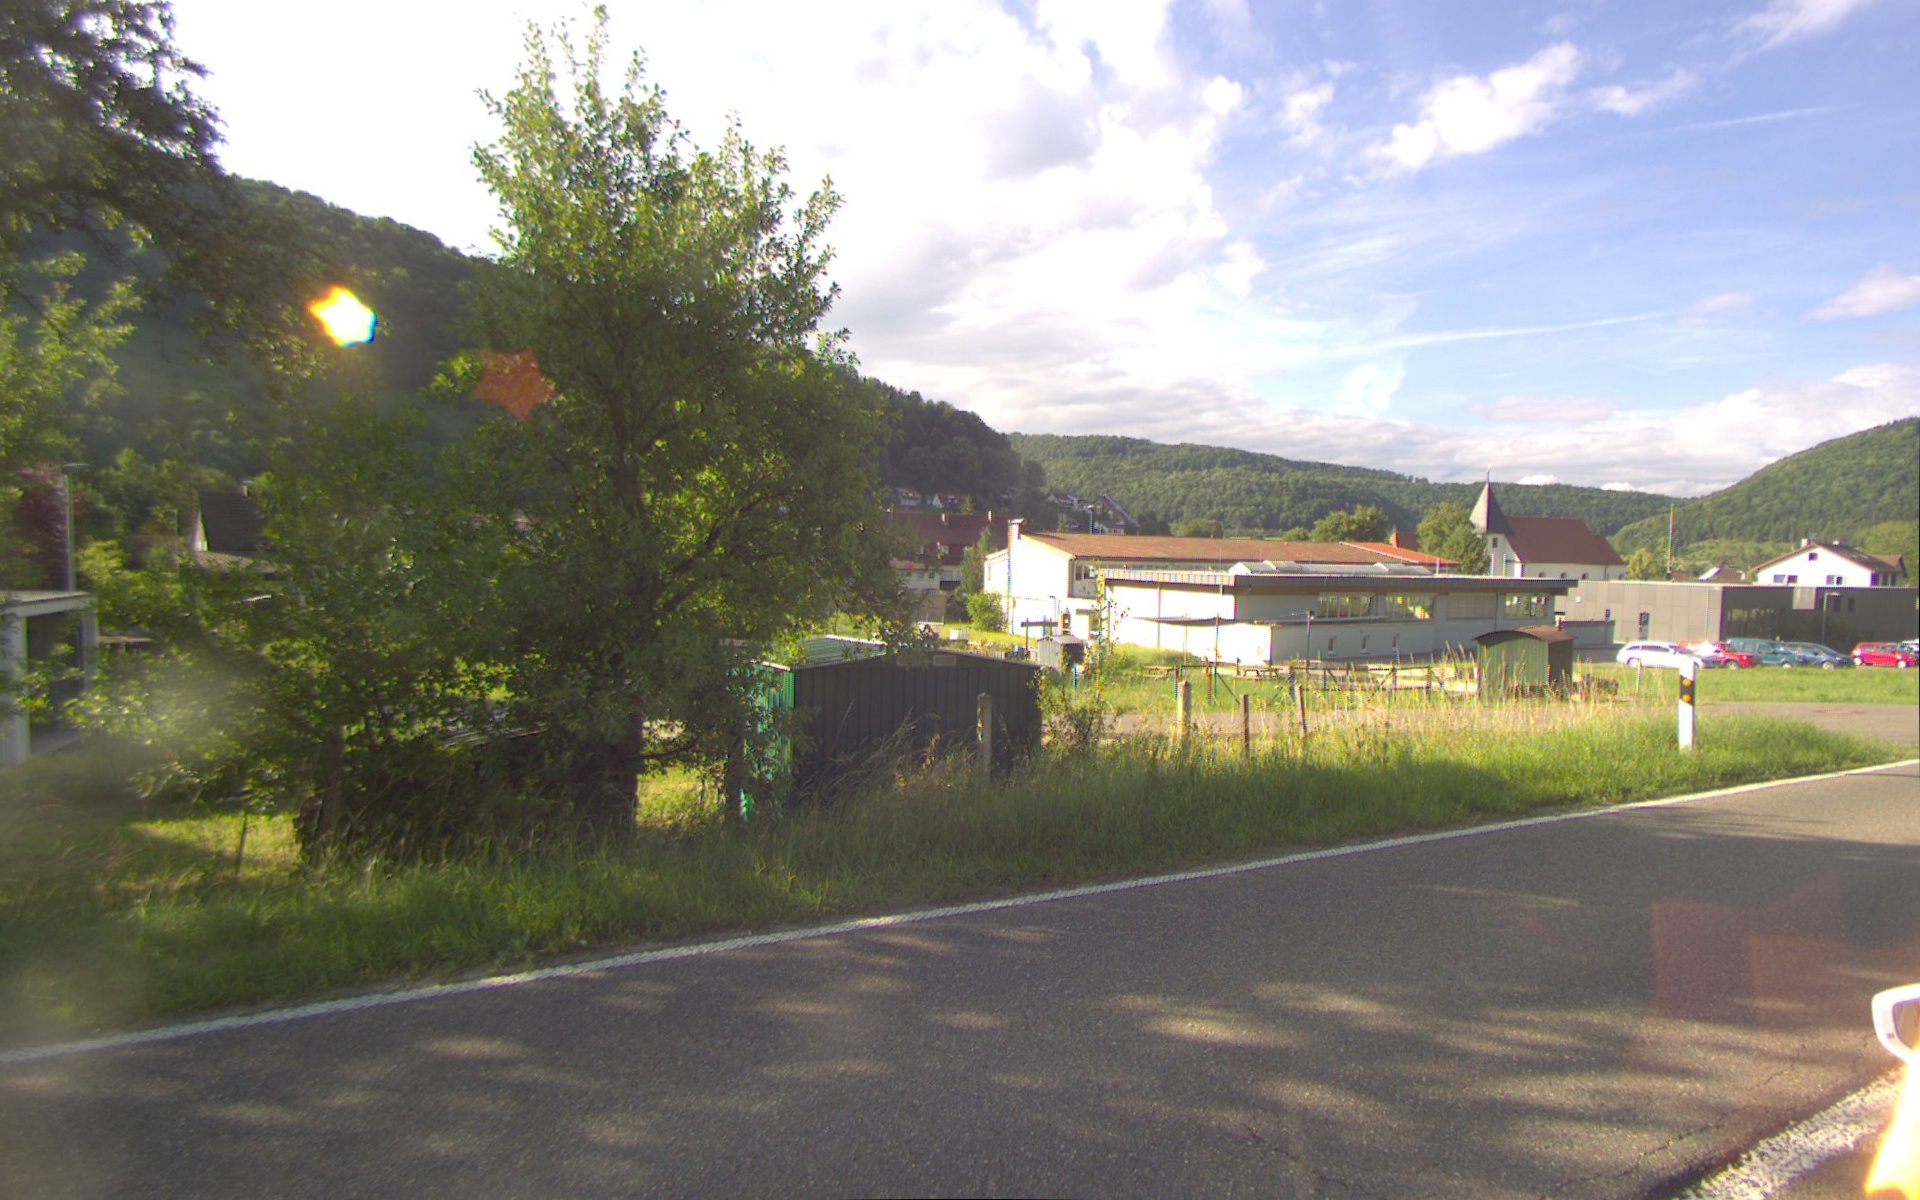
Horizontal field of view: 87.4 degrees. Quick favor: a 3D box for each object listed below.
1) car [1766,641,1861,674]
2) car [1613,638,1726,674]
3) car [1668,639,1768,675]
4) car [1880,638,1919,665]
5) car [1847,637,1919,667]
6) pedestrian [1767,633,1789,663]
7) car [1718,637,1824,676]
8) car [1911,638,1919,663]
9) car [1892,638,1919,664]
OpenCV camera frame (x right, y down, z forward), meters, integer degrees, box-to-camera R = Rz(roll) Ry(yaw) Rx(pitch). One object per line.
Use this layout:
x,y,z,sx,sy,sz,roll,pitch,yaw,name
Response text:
51.352,3.457,60.516,1.978,1.733,3.965,2,0,-32,car
39.105,3.049,55.482,1.978,1.733,4.705,2,0,-32,car
42.206,3.148,56.010,1.978,1.733,3.965,2,0,-32,car
64.448,3.477,67.140,1.978,1.733,3.965,2,0,-32,car
60.437,3.341,65.111,1.978,1.733,3.965,2,0,-32,car
57.337,3.335,70.406,0.962,2.040,0.821,2,0,-30,pedestrian
47.299,3.252,58.660,1.978,2.034,4.382,2,0,-32,car
70.168,3.676,70.962,1.978,1.733,3.965,2,0,-32,car
67.327,3.579,69.398,1.978,1.733,3.965,2,0,-32,car
